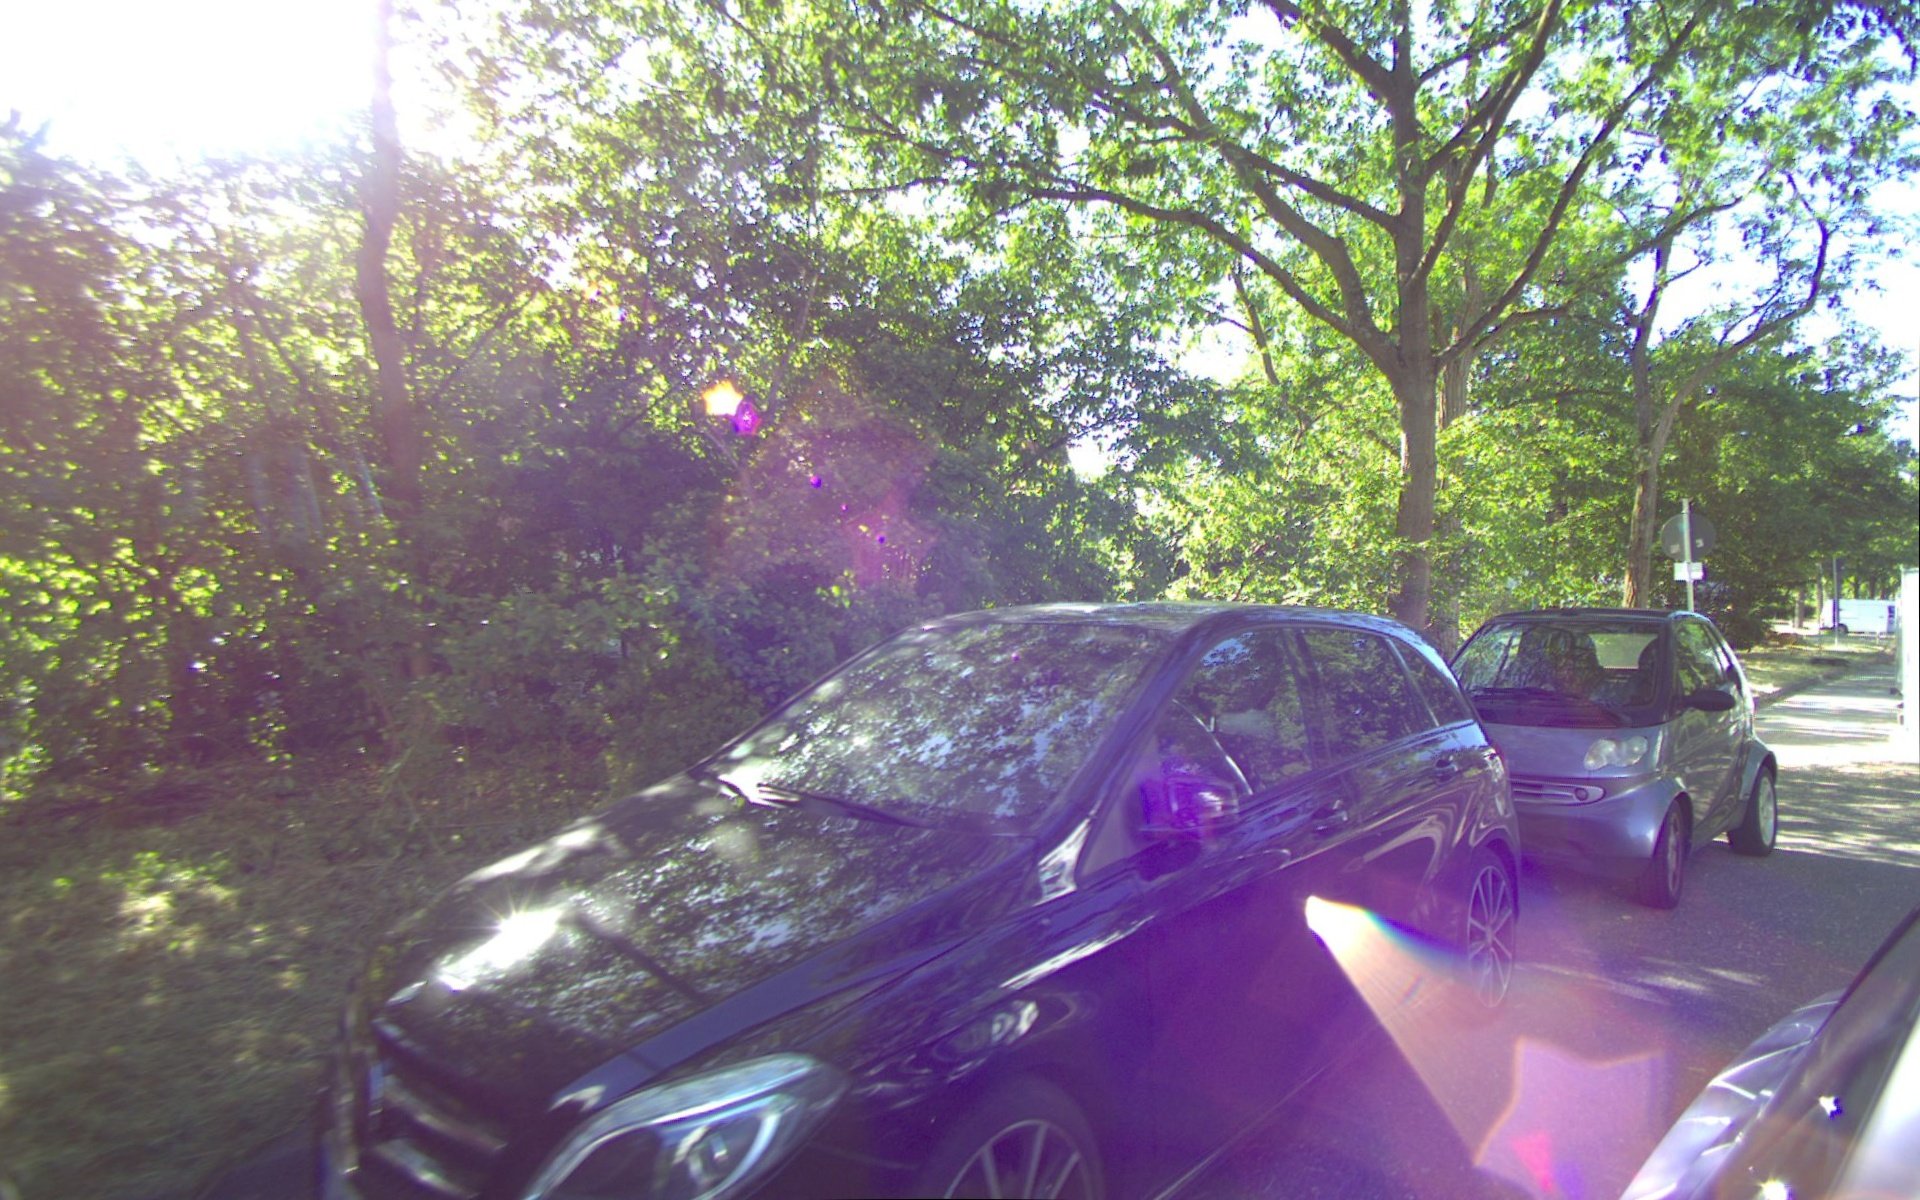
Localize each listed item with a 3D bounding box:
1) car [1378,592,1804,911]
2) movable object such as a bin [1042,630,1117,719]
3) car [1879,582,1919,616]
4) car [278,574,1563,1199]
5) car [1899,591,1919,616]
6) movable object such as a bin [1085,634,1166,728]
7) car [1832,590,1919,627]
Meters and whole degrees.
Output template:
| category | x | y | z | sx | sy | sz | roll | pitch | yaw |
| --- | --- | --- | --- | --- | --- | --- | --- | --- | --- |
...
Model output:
| category | x | y | z | sx | sy | sz | roll | pitch | yaw |
| --- | --- | --- | --- | --- | --- | --- | --- | --- | --- |
| car | 3.977 | 0.740 | 6.297 | 2.629 | 1.529 | 1.496 | 0 | -1 | -40 |
| movable object such as a bin | 1.366 | 0.834 | 11.606 | 0.454 | 0.891 | 0.728 | -7 | 6 | -35 |
| car | 73.202 | -0.080 | 77.314 | 4.400 | 2.578 | 1.859 | 2 | 1 | 44 |
| car | 0.399 | 0.754 | 3.272 | 1.712 | 1.529 | 4.082 | -1 | -1 | 45 |
| car | 77.447 | 0.322 | 80.313 | 4.234 | 2.030 | 1.541 | 2 | 1 | 44 |
| movable object such as a bin | 1.790 | 0.860 | 11.001 | 0.454 | 0.891 | 0.728 | -7 | 6 | -35 |
| car | 53.928 | 0.495 | 58.410 | 1.966 | 2.030 | 5.261 | 1 | 1 | -43 |
